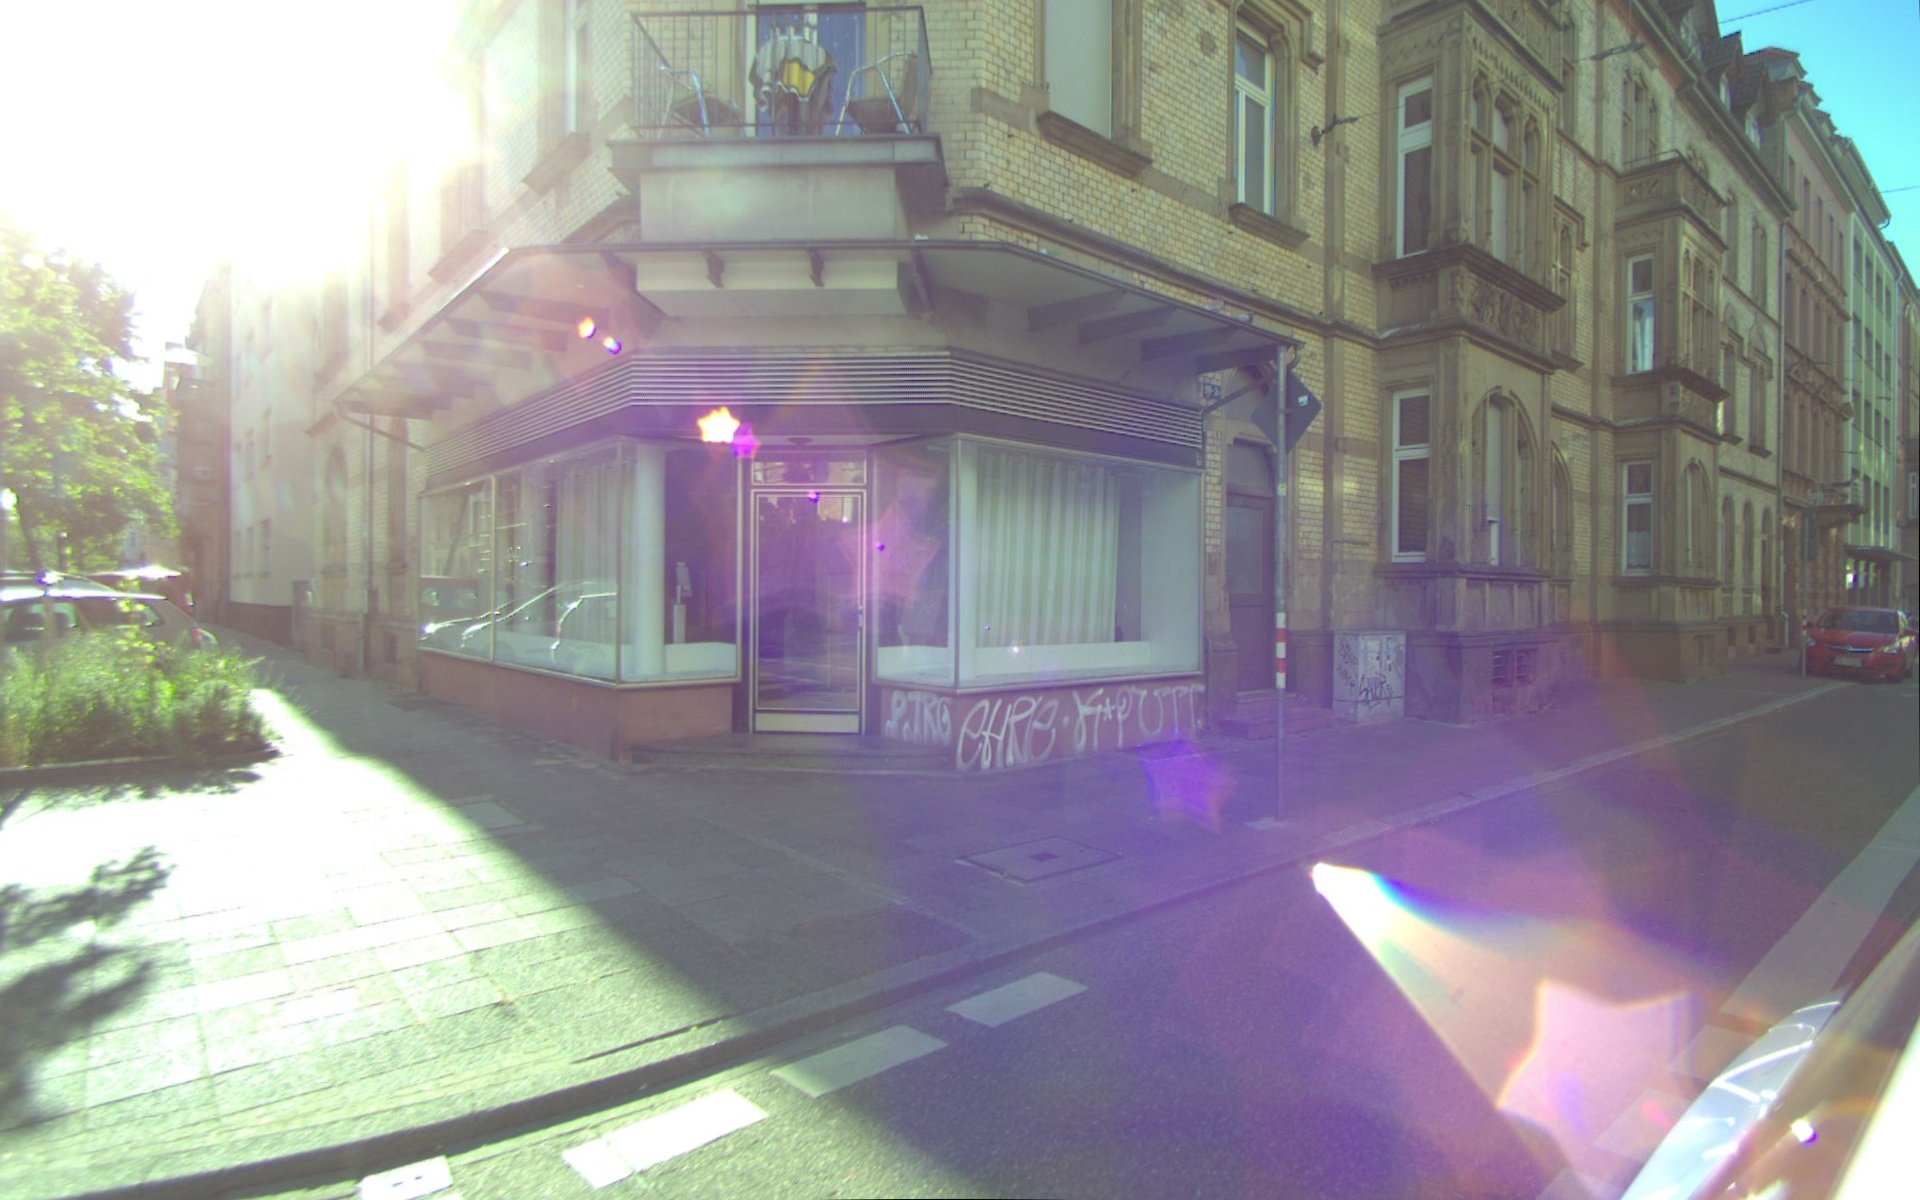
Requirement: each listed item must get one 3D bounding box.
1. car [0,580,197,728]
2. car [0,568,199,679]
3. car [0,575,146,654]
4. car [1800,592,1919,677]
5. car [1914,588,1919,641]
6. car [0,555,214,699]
[{"bbox_3d":[-10.757,0.566,11.075,1.749,1.551,3.510,0,0,18],"label":"car"},{"bbox_3d":[-16.721,0.395,18.731,1.762,1.920,3.903,0,0,37],"label":"car"},{"bbox_3d":[-22.375,0.339,24.476,1.762,1.817,3.903,0,0,37],"label":"car"},{"bbox_3d":[19.360,0.648,21.308,4.325,1.500,1.870,-1,4,-41],"label":"car"},{"bbox_3d":[32.708,0.511,33.200,1.867,1.666,4.330,5,4,45],"label":"car"},{"bbox_3d":[-12.853,0.343,14.048,1.749,1.853,3.718,0,0,18],"label":"car"}]
